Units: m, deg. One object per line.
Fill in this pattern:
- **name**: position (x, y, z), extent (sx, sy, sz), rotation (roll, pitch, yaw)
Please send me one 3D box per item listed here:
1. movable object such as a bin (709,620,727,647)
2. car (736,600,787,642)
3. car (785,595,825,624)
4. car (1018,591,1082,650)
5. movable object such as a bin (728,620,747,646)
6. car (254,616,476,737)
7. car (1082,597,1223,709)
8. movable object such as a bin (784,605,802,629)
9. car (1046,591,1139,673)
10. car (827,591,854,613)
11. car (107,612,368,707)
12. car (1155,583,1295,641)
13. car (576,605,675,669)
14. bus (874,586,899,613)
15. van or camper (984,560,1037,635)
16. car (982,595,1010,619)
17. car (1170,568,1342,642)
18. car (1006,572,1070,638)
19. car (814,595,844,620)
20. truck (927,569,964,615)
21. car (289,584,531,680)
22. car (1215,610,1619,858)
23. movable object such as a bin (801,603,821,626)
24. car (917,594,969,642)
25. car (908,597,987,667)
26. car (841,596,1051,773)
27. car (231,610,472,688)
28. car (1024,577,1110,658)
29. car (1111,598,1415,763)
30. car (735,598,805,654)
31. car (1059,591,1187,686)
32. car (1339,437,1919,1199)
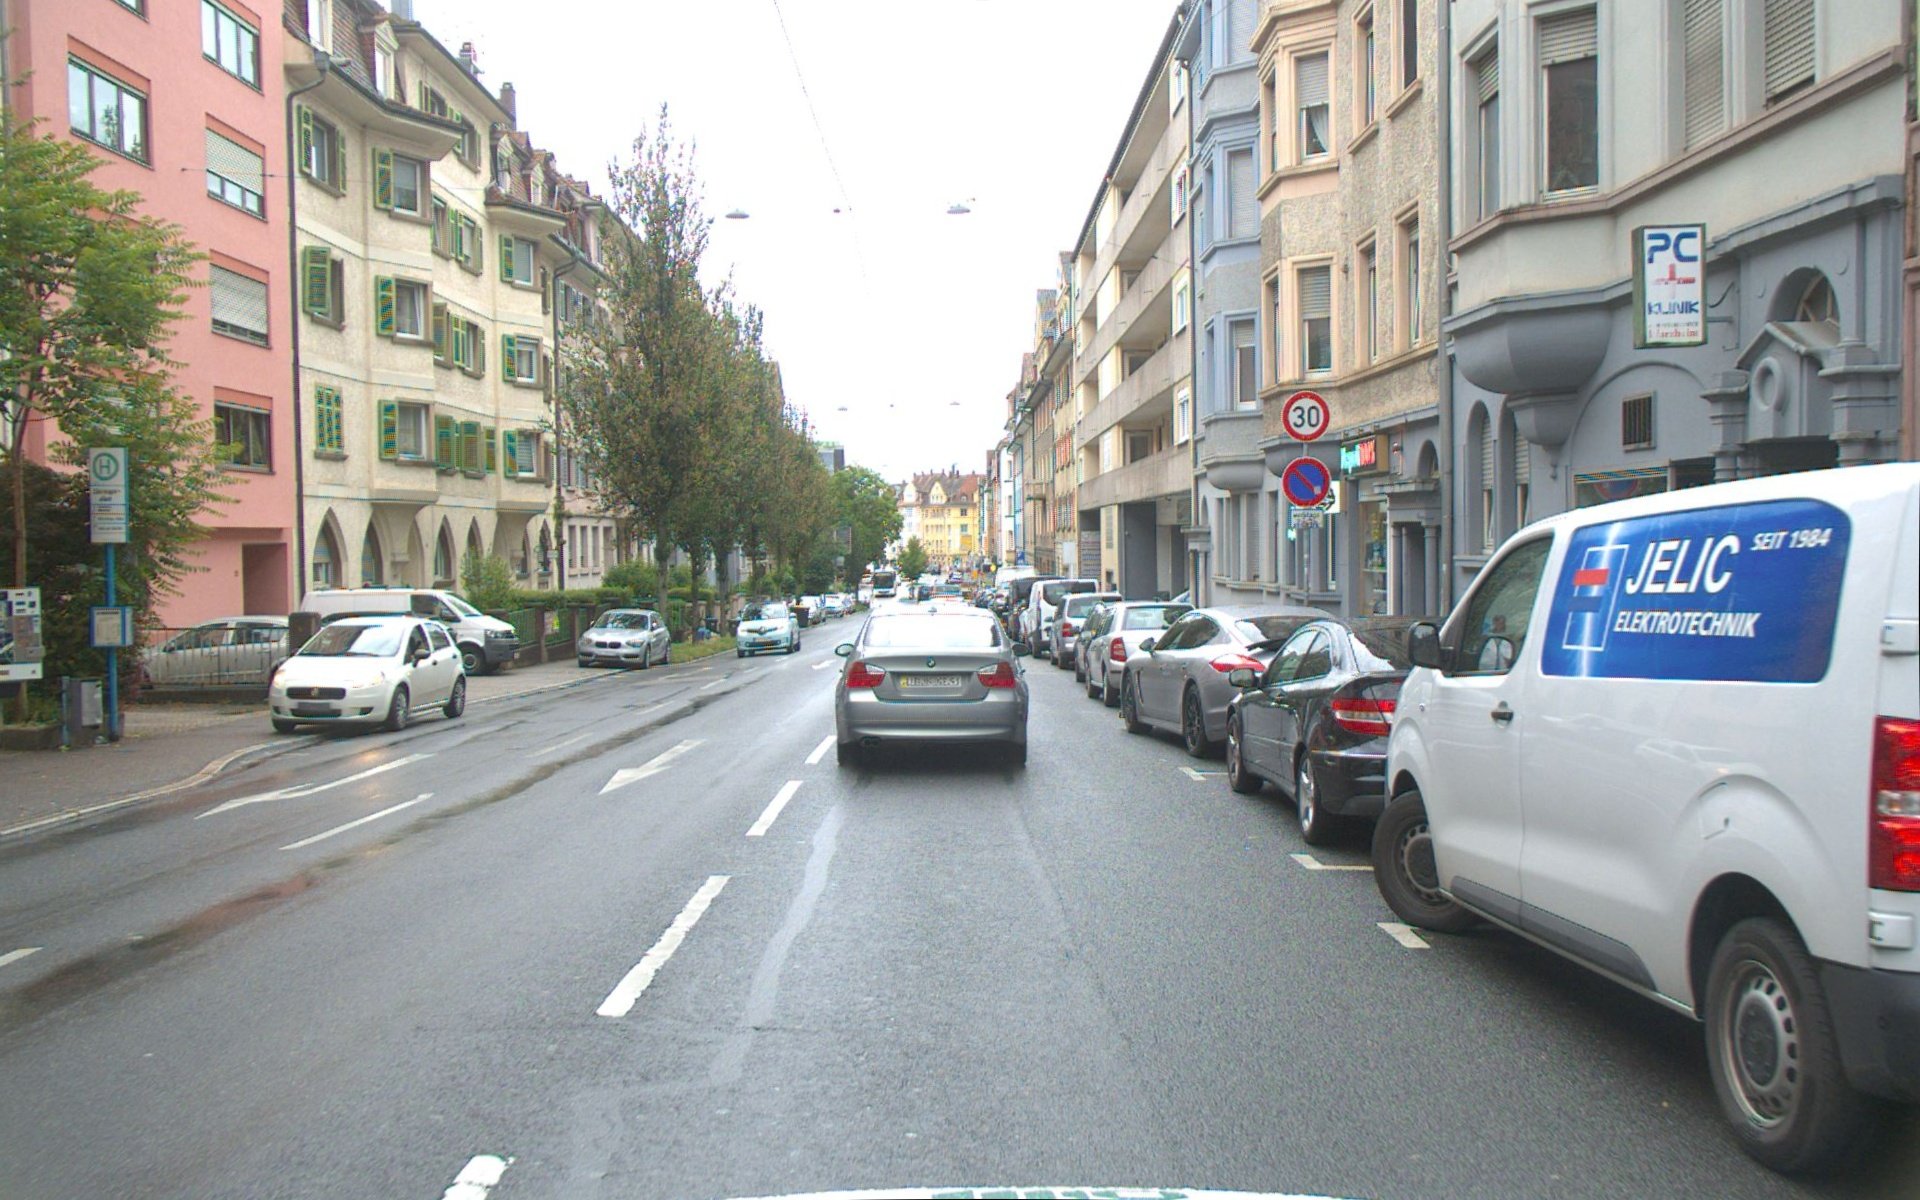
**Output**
- **movable object such as a bin**: position (-8.607, 1.193, 58.817), extent (0.565, 0.928, 0.638), rotation (-2, 0, -15)
- **car**: position (-8.425, 0.876, 70.542), extent (1.731, 1.621, 3.999), rotation (-3, 0, -2)
- **car**: position (-8.682, 0.510, 92.966), extent (1.790, 1.550, 3.736), rotation (-3, 0, 0)
- **car**: position (2.792, 0.617, 52.078), extent (1.691, 1.699, 4.288), rotation (-2, 0, -1)
- **movable object such as a bin**: position (-7.924, 1.171, 58.938), extent (0.565, 0.928, 0.638), rotation (-2, 0, -15)
- **car**: position (-8.126, 0.990, 22.970), extent (1.588, 1.471, 4.005), rotation (-1, 0, 0)
- **car**: position (2.776, 0.721, 24.547), extent (1.578, 1.500, 4.015), rotation (1, 0, -1)
- **movable object such as a bin**: position (-8.598, 0.879, 85.195), extent (0.883, 1.189, 0.895), rotation (0, 0, -1)
- **car**: position (2.983, 0.690, 38.016), extent (1.691, 1.699, 4.288), rotation (-3, 0, -1)
- **car**: position (-8.813, 0.124, 122.476), extent (1.656, 1.550, 3.736), rotation (-3, 0, 0)
- **car**: position (-12.648, 1.017, 29.155), extent (3.809, 1.483, 1.789), rotation (-2, 0, -8)
- **car**: position (8.226, 0.362, 51.224), extent (4.195, 1.669, 1.668), rotation (-1, 2, 12)
- **car**: position (-8.563, 0.928, 42.632), extent (1.691, 1.510, 3.989), rotation (1, 0, 0)
- **bus**: position (-8.857, -0.083, 200.290), extent (2.614, 3.077, 7.669), rotation (-2, 0, -1)
- **van or camper**: position (2.196, -0.113, 69.969), extent (1.991, 2.919, 6.888), rotation (2, 0, 3)
- **car**: position (2.348, 0.476, 107.915), extent (1.663, 1.509, 3.974), rotation (1, 0, -1)
- **car**: position (7.780, 0.127, 43.354), extent (4.234, 1.836, 2.008), rotation (-1, 2, 17)
- **car**: position (2.757, 0.159, 59.388), extent (1.941, 2.203, 4.749), rotation (-2, 0, -1)
- **car**: position (-8.927, 0.505, 113.159), extent (1.656, 1.550, 3.736), rotation (-3, 0, 0)
- **truck**: position (-0.860, -0.415, 92.608), extent (1.991, 2.455, 4.825), rotation (1, 0, -1)
- **car**: position (-12.372, 0.702, 37.437), extent (4.730, 2.008, 2.048), rotation (-1, 0, -1)
- **car**: position (2.976, 0.790, 11.710), extent (1.643, 1.399, 4.275), rotation (0, 0, -1)
- **movable object such as a bin**: position (-7.675, 0.732, 85.224), extent (0.916, 1.189, 0.909), rotation (0, 0, -1)
- **car**: position (-0.589, 0.595, 54.925), extent (1.663, 1.509, 3.792), rotation (1, 0, -1)
- **car**: position (-0.242, 0.677, 36.756), extent (1.647, 1.453, 3.741), rotation (1, 0, 1)
- **car**: position (-0.244, 0.719, 15.654), extent (1.734, 1.453, 3.737), rotation (1, 0, -4)
- **car**: position (-12.674, 1.002, 34.653), extent (4.343, 1.477, 1.791), rotation (-1, 0, -3)
- **car**: position (2.829, 0.447, 44.755), extent (1.941, 2.042, 4.624), rotation (-2, 0, -1)
- **car**: position (2.982, 0.741, 17.404), extent (1.839, 1.493, 4.768), rotation (1, 0, -7)
- **car**: position (-5.685, 0.748, 49.843), extent (1.603, 1.534, 3.754), rotation (-3, 0, -1)
- **car**: position (2.927, 0.655, 30.714), extent (1.861, 1.504, 4.798), rotation (-3, 0, 0)
- **car**: position (3.041, 0.528, 6.303), extent (1.881, 1.859, 5.007), rotation (-2, 0, -2)
